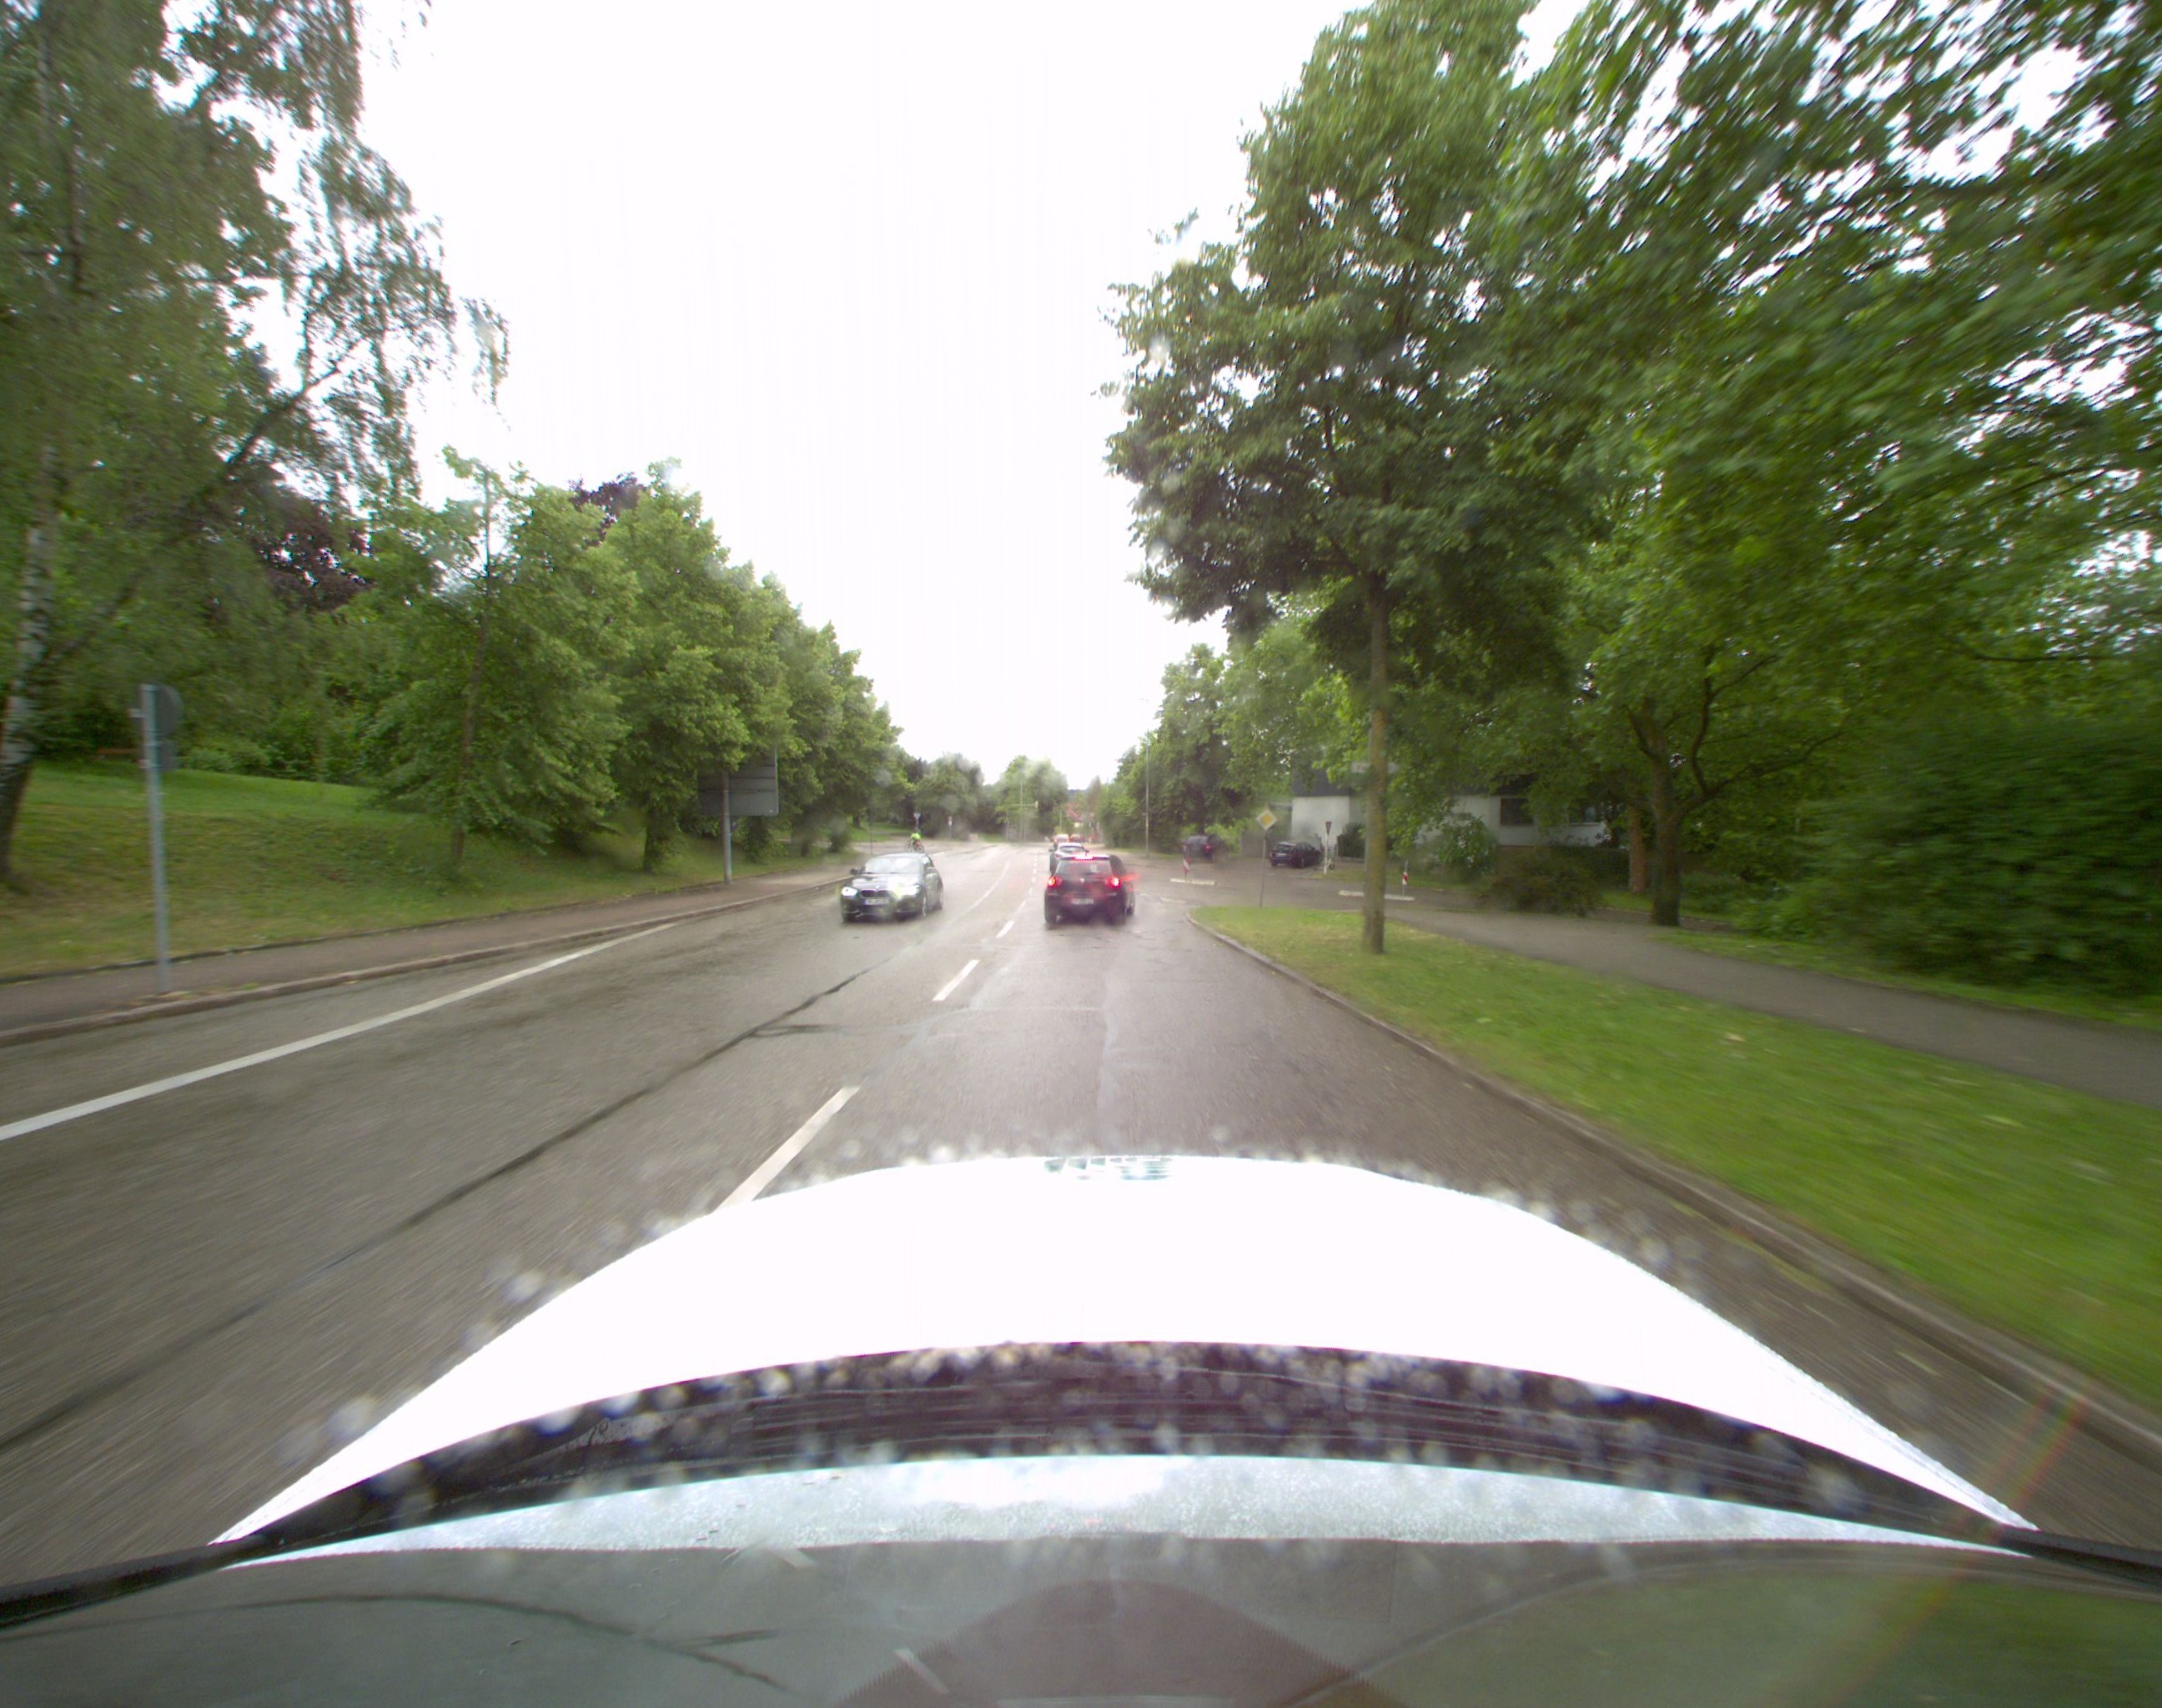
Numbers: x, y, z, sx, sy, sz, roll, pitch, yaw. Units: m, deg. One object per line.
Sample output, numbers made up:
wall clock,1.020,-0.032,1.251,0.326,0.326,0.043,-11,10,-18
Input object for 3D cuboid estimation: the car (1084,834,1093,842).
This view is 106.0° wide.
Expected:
car,1.509,-3.261,167.776,1.716,1.463,4.001,4,1,1

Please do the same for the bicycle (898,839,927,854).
bicycle,-12.795,-0.591,61.812,2.014,1.155,0.859,0,0,20

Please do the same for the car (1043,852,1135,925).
car,0.291,0.710,18.543,1.713,1.464,4.006,1,0,6

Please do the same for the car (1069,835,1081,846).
car,-0.865,-2.068,120.597,1.716,1.463,4.001,4,1,1

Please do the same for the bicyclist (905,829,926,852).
bicyclist,-12.565,-1.019,61.736,1.271,1.755,0.859,0,0,20

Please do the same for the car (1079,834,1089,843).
car,0.515,-2.660,138.543,1.716,1.463,4.001,4,1,1

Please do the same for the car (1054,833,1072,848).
car,-1.934,-1.442,86.968,1.716,1.463,4.001,4,1,1

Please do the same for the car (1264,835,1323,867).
car,12.327,-0.206,47.104,1.734,1.469,4.596,4,6,35

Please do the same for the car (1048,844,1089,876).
car,-0.647,0.241,39.205,1.751,1.464,3.994,0,1,-5

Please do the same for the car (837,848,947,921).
car,-4.208,0.621,18.711,1.717,1.383,4.136,1,2,-3

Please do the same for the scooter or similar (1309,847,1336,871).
scooter or similar,13.276,0.292,44.747,1.334,1.285,0.560,-1,1,-8

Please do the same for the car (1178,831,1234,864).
car,7.666,-0.452,49.620,1.930,1.688,4.934,3,5,26

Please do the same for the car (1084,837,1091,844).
car,1.661,-3.421,204.881,1.716,1.463,4.001,4,1,1
